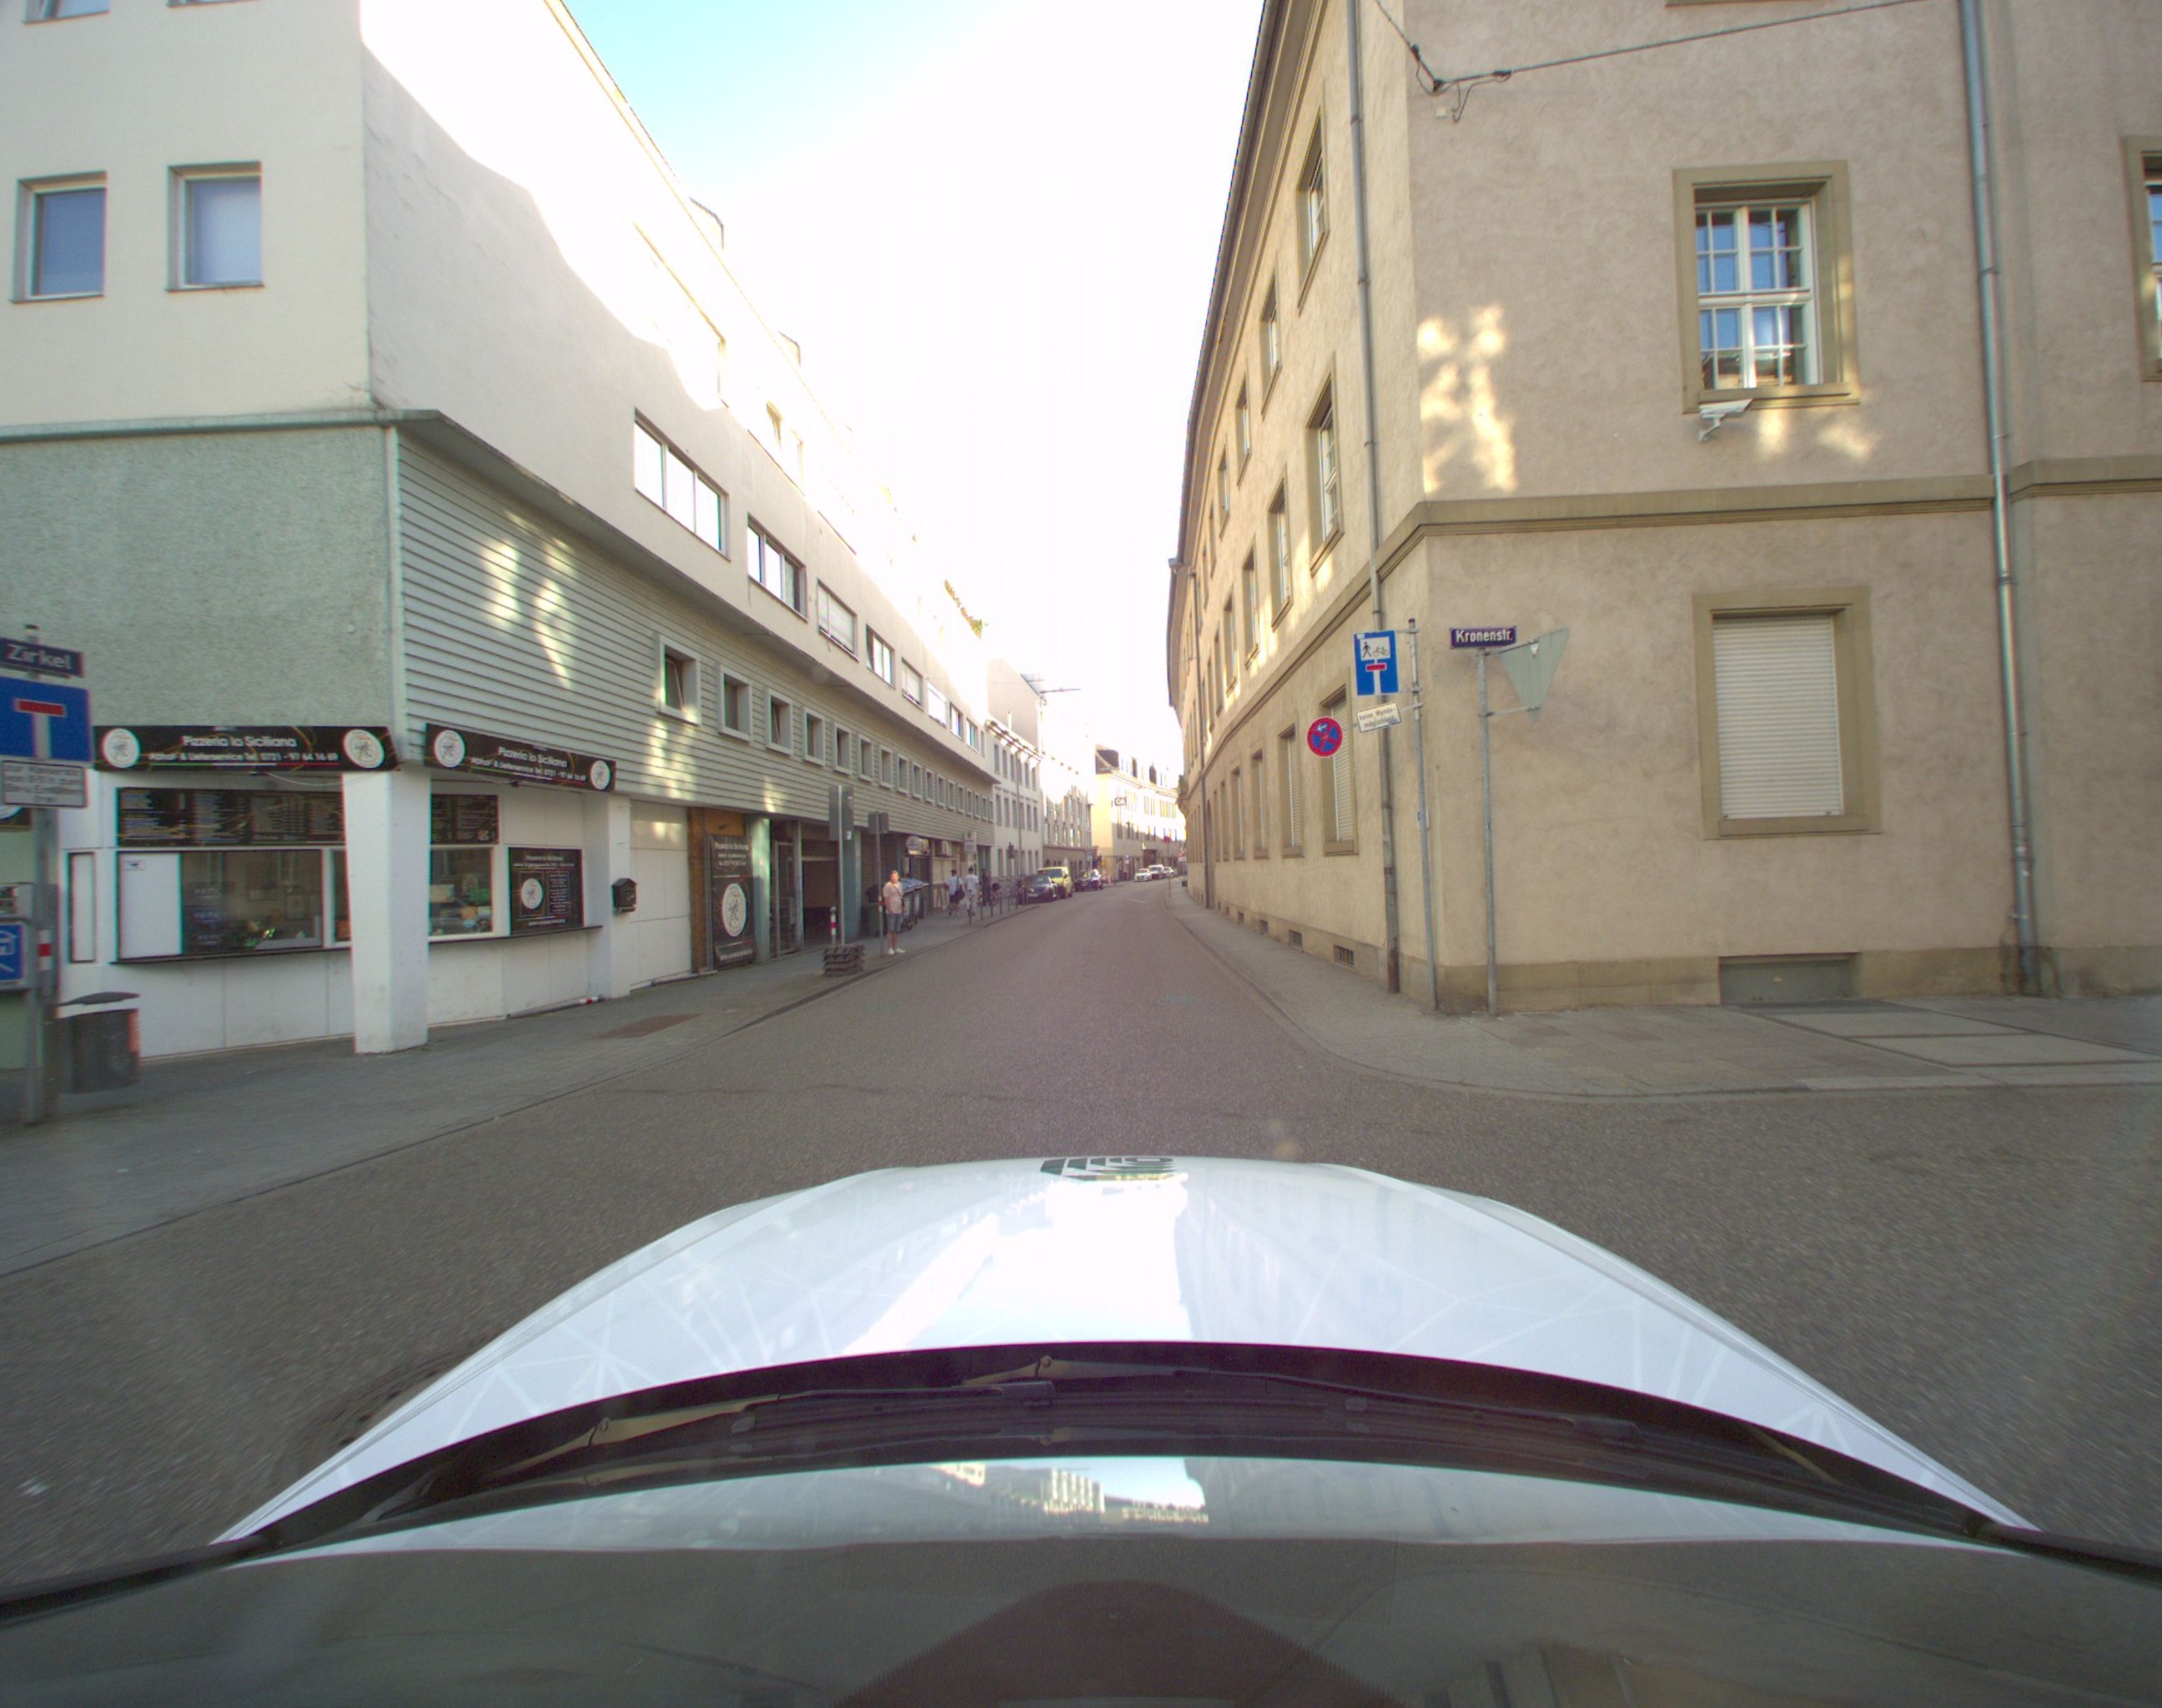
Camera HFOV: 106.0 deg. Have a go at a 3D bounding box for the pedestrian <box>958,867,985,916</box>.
[{"bbox_3d":[-4.002,1.358,29.866,0.694,1.734,0.830,-4,-1,5],"label":"pedestrian"}]

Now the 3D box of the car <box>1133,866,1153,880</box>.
[{"bbox_3d":[7.308,2.191,95.408,1.659,1.507,3.806,-4,-1,12],"label":"car"}]

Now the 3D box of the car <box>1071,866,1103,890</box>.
[{"bbox_3d":[0.515,1.880,65.252,1.729,1.711,4.202,-5,-1,10],"label":"car"}]

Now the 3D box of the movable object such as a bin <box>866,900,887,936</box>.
[{"bbox_3d":[-5.674,1.778,22.606,0.391,0.942,0.467,-3,-1,2],"label":"movable object such as a bin"}]

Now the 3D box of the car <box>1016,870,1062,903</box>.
[{"bbox_3d":[-2.209,1.710,43.621,1.811,1.486,4.081,-5,-1,4],"label":"car"}]

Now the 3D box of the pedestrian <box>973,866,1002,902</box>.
[{"bbox_3d":[-4.610,1.467,40.035,1.067,1.728,0.807,-3,-1,27],"label":"pedestrian"}]

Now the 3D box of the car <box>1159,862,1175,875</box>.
[{"bbox_3d":[11.347,1.890,106.934,1.261,1.507,3.417,-4,-1,18],"label":"car"}]

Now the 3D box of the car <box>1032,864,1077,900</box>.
[{"bbox_3d":[-1.543,1.634,49.182,1.870,1.867,4.872,-5,-1,6],"label":"car"}]

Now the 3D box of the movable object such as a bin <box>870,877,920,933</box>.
[{"bbox_3d":[-5.372,1.444,23.611,0.964,1.471,1.475,-3,0,3],"label":"movable object such as a bin"}]

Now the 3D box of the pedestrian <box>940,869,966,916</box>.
[{"bbox_3d":[-4.675,1.396,29.843,0.669,1.670,0.896,-3,-1,5],"label":"pedestrian"}]

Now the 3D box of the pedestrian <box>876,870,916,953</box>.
[{"bbox_3d":[-3.806,1.156,16.731,0.631,1.670,0.487,1,-1,-44],"label":"pedestrian"}]

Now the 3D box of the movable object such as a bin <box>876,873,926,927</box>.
[{"bbox_3d":[-5.512,1.398,25.057,1.118,1.520,1.343,-3,0,2],"label":"movable object such as a bin"}]

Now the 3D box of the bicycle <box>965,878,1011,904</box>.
[{"bbox_3d":[-4.566,1.807,40.013,2.108,1.163,0.828,-3,-1,27],"label":"bicycle"}]

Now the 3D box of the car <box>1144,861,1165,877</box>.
[{"bbox_3d":[9.150,1.823,101.045,1.657,1.818,4.572,-4,-1,17],"label":"car"}]
